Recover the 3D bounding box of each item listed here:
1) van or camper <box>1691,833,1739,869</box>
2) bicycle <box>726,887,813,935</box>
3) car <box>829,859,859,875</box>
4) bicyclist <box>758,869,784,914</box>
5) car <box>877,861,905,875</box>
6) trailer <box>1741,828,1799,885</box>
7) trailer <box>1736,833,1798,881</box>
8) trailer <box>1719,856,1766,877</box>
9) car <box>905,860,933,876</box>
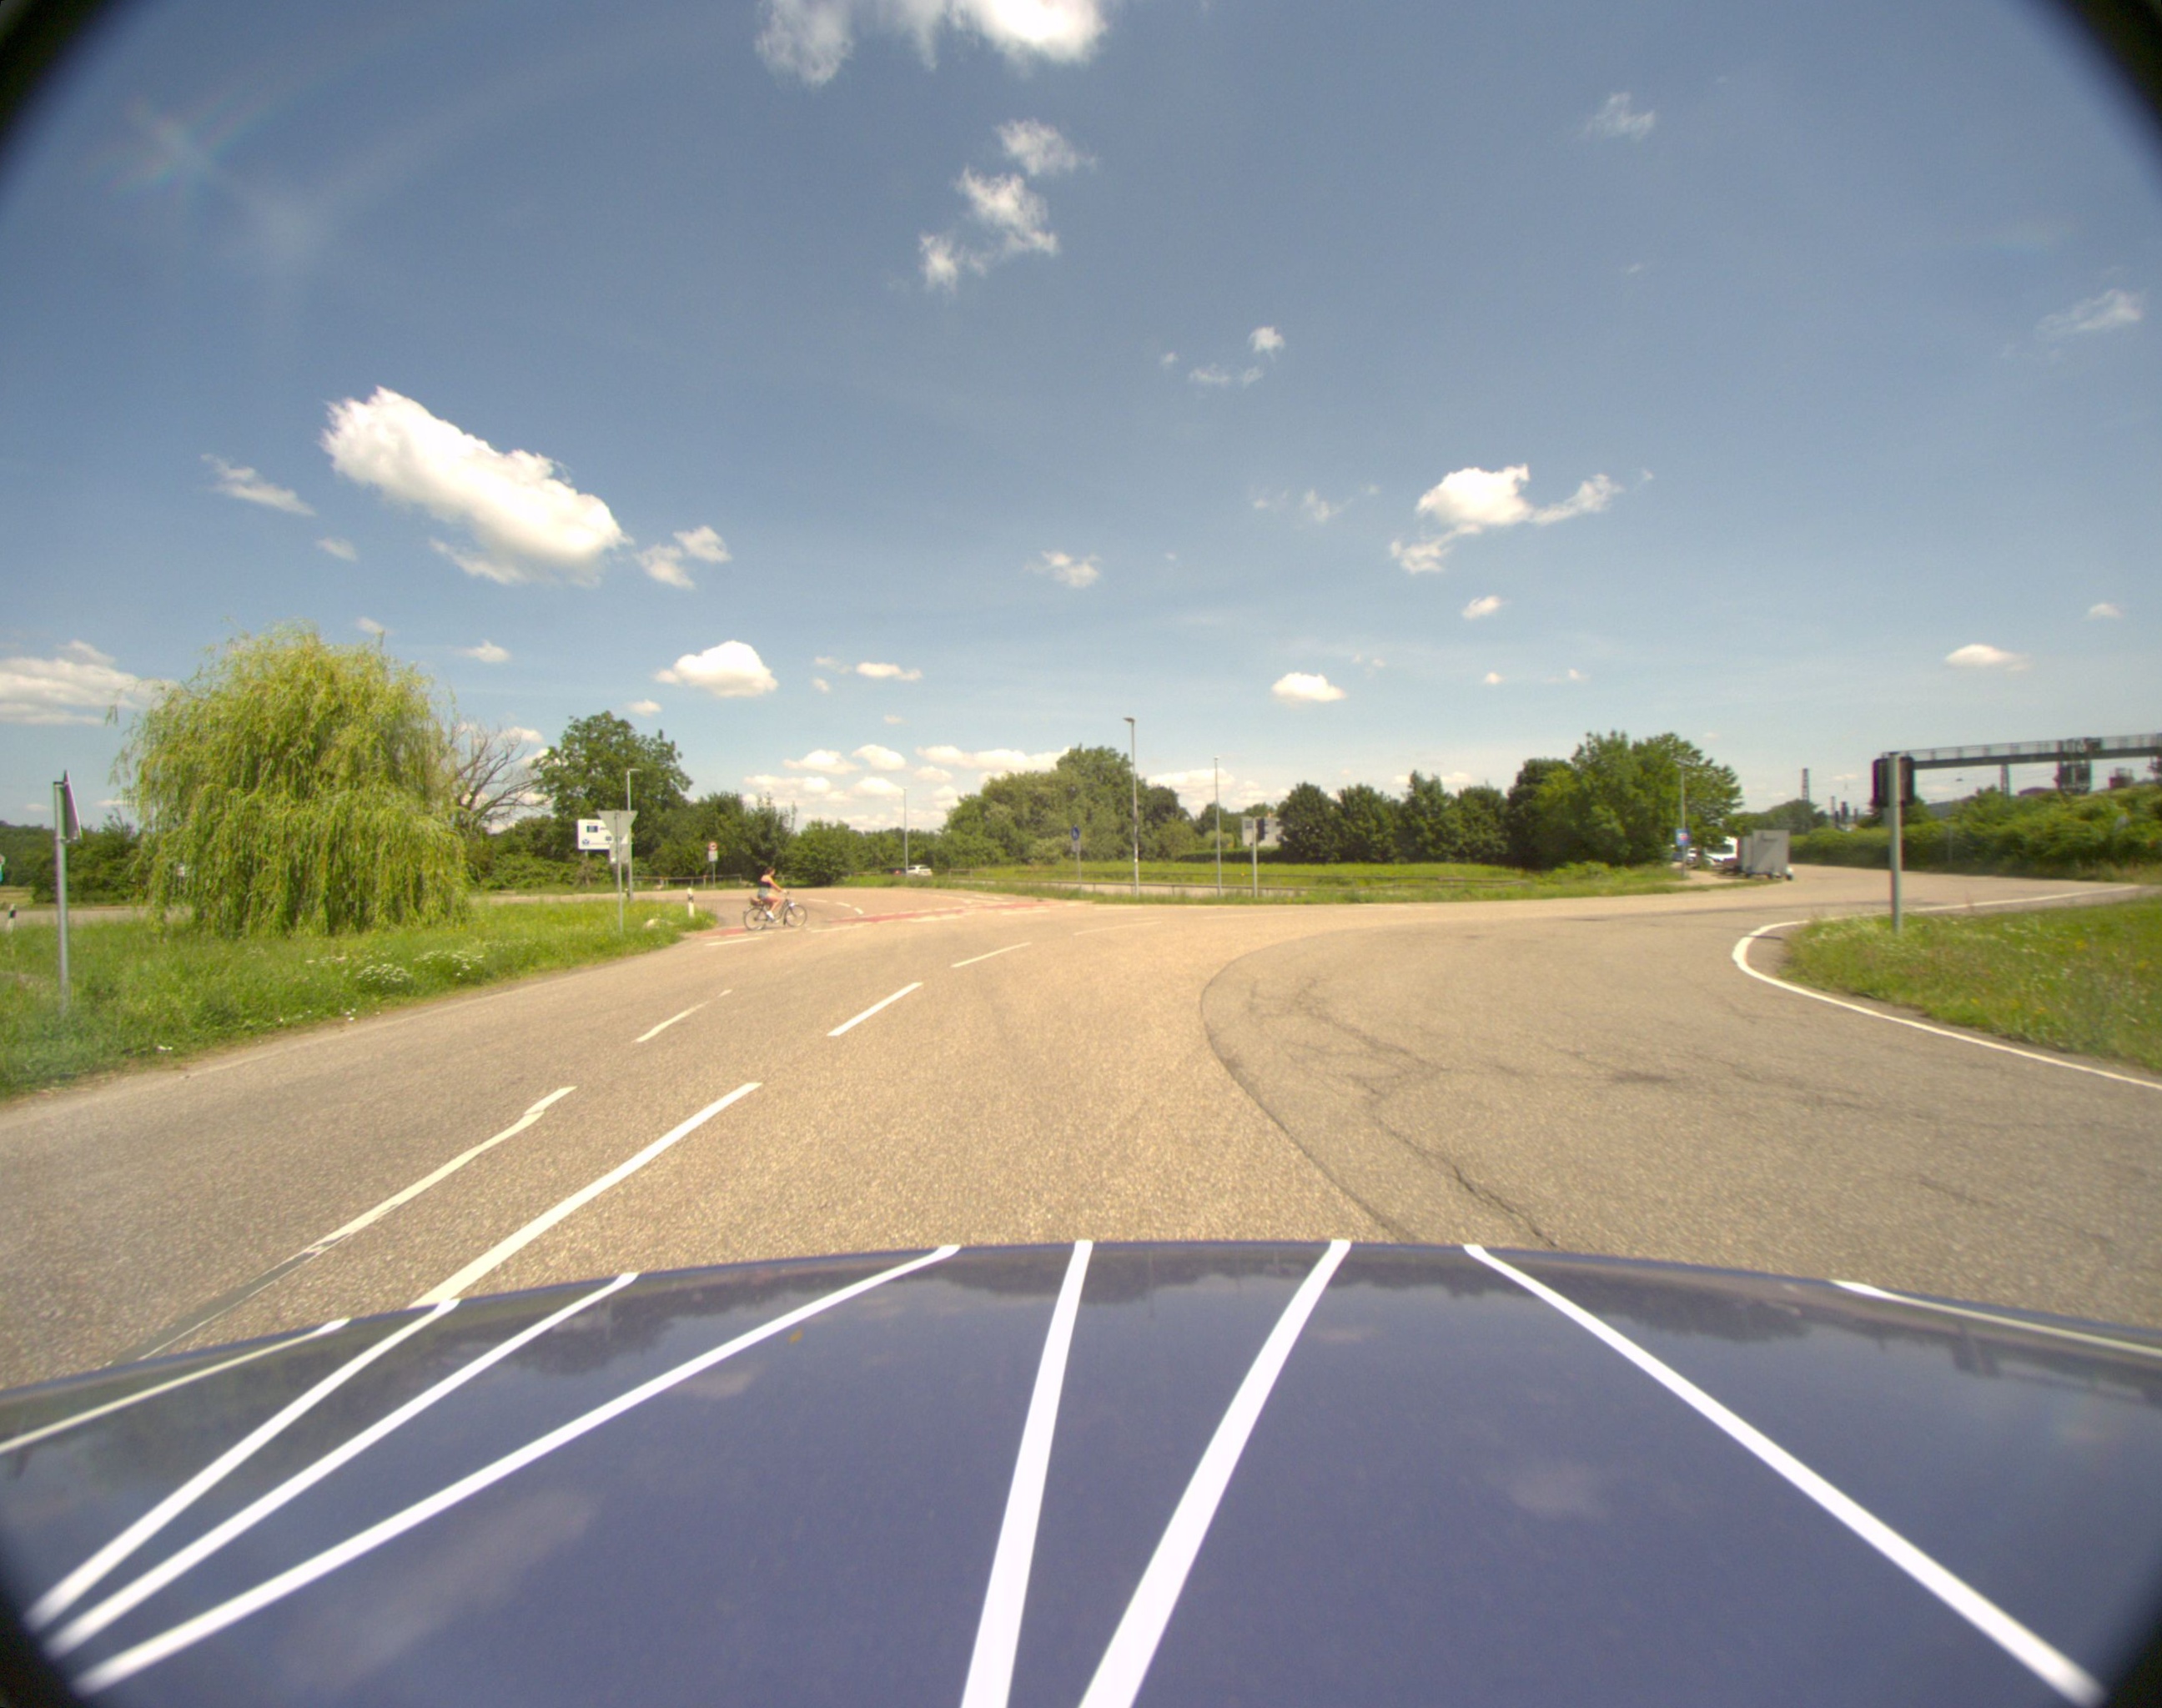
[{"bbox_3d":[52.958,-0.270,63.647,2.440,2.810,7.638,1,1,35],"label":"van or camper"},{"bbox_3d":[-8.770,1.576,21.455,2.150,1.158,0.659,-2,0,-41],"label":"bicycle"},{"bbox_3d":[-22.589,1.257,72.396,3.110,1.330,1.421,-3,-1,44],"label":"car"},{"bbox_3d":[-8.742,1.049,21.426,0.512,1.248,0.468,-3,1,-39],"label":"bicyclist"},{"bbox_3d":[-18.890,1.408,75.478,1.421,1.330,3.110,-2,-1,-42],"label":"car"},{"bbox_3d":[34.361,0.078,37.995,1.933,2.629,5.194,2,2,41],"label":"trailer"},{"bbox_3d":[38.030,0.137,42.237,1.919,2.494,4.750,2,2,36],"label":"trailer"},{"bbox_3d":[42.297,0.782,48.651,2.005,1.117,4.498,2,2,38],"label":"trailer"},{"bbox_3d":[-16.659,1.470,78.161,1.421,1.495,3.110,-2,-1,-43],"label":"car"}]
